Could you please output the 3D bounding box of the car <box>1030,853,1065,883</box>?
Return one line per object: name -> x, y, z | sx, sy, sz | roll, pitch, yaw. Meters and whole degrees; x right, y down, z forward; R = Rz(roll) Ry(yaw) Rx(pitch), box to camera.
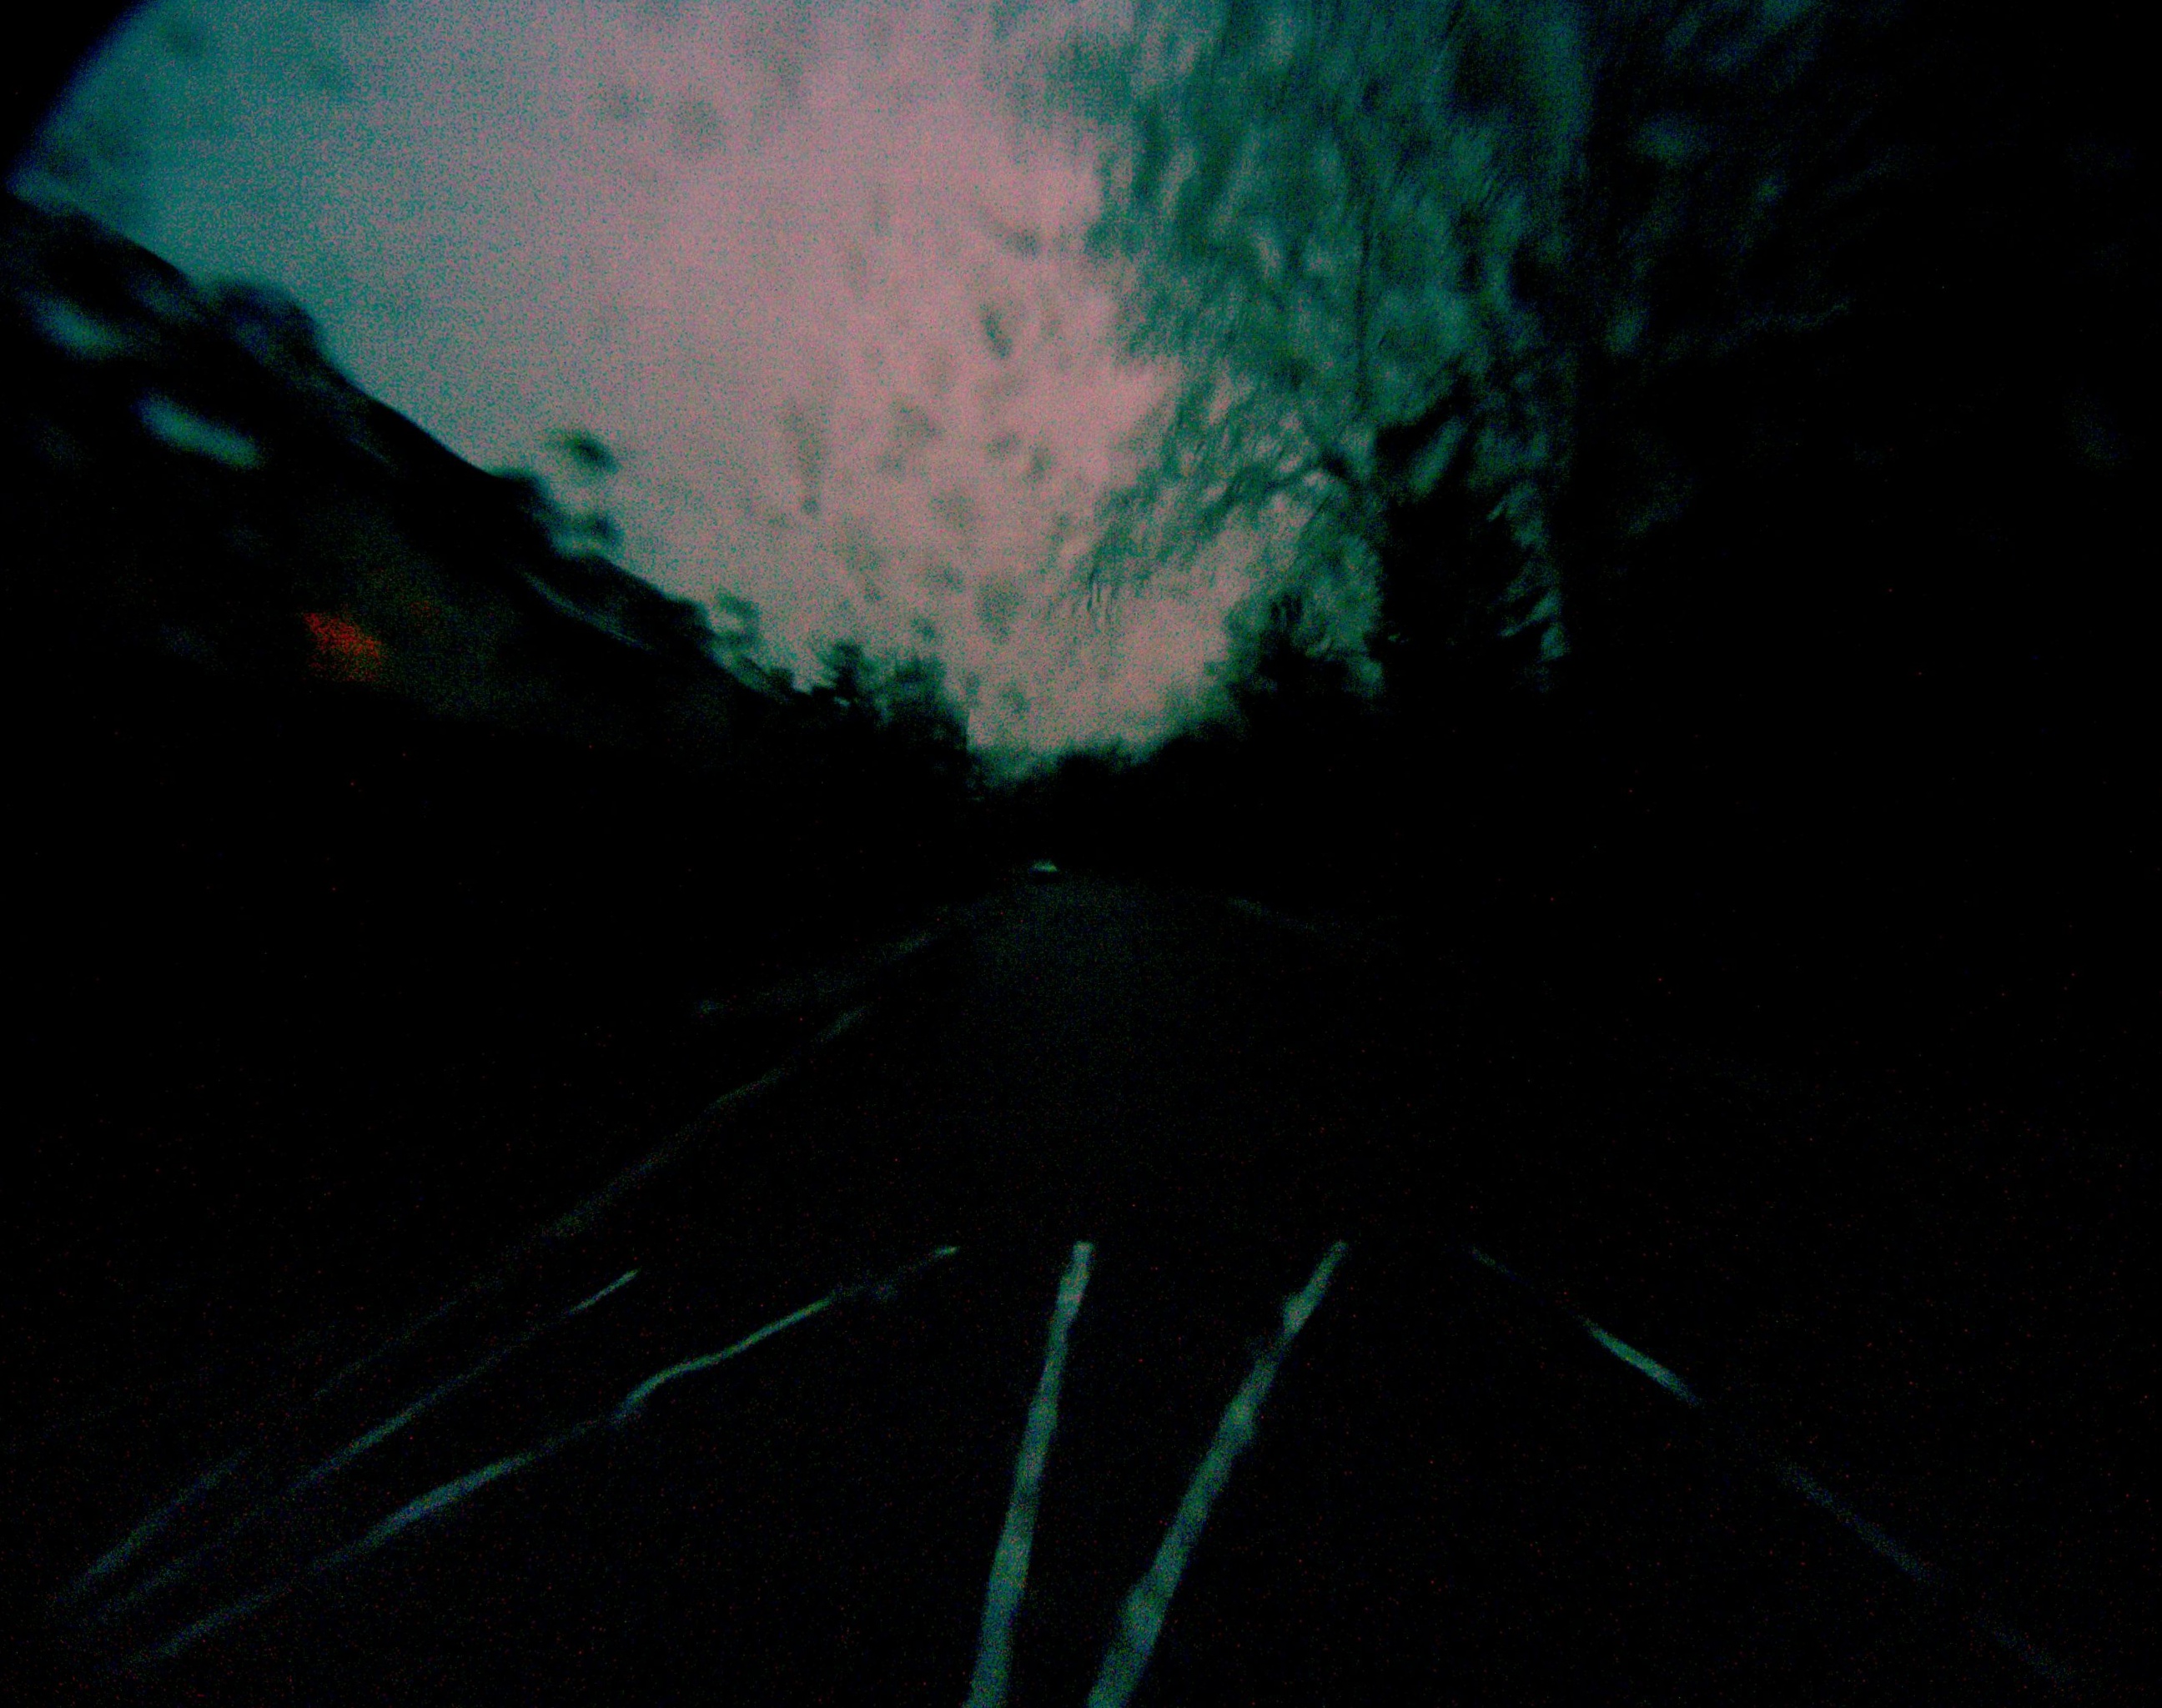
car -> -1.906, 0.734, 42.456 | 1.709, 1.497, 4.022 | -2, 1, -5
